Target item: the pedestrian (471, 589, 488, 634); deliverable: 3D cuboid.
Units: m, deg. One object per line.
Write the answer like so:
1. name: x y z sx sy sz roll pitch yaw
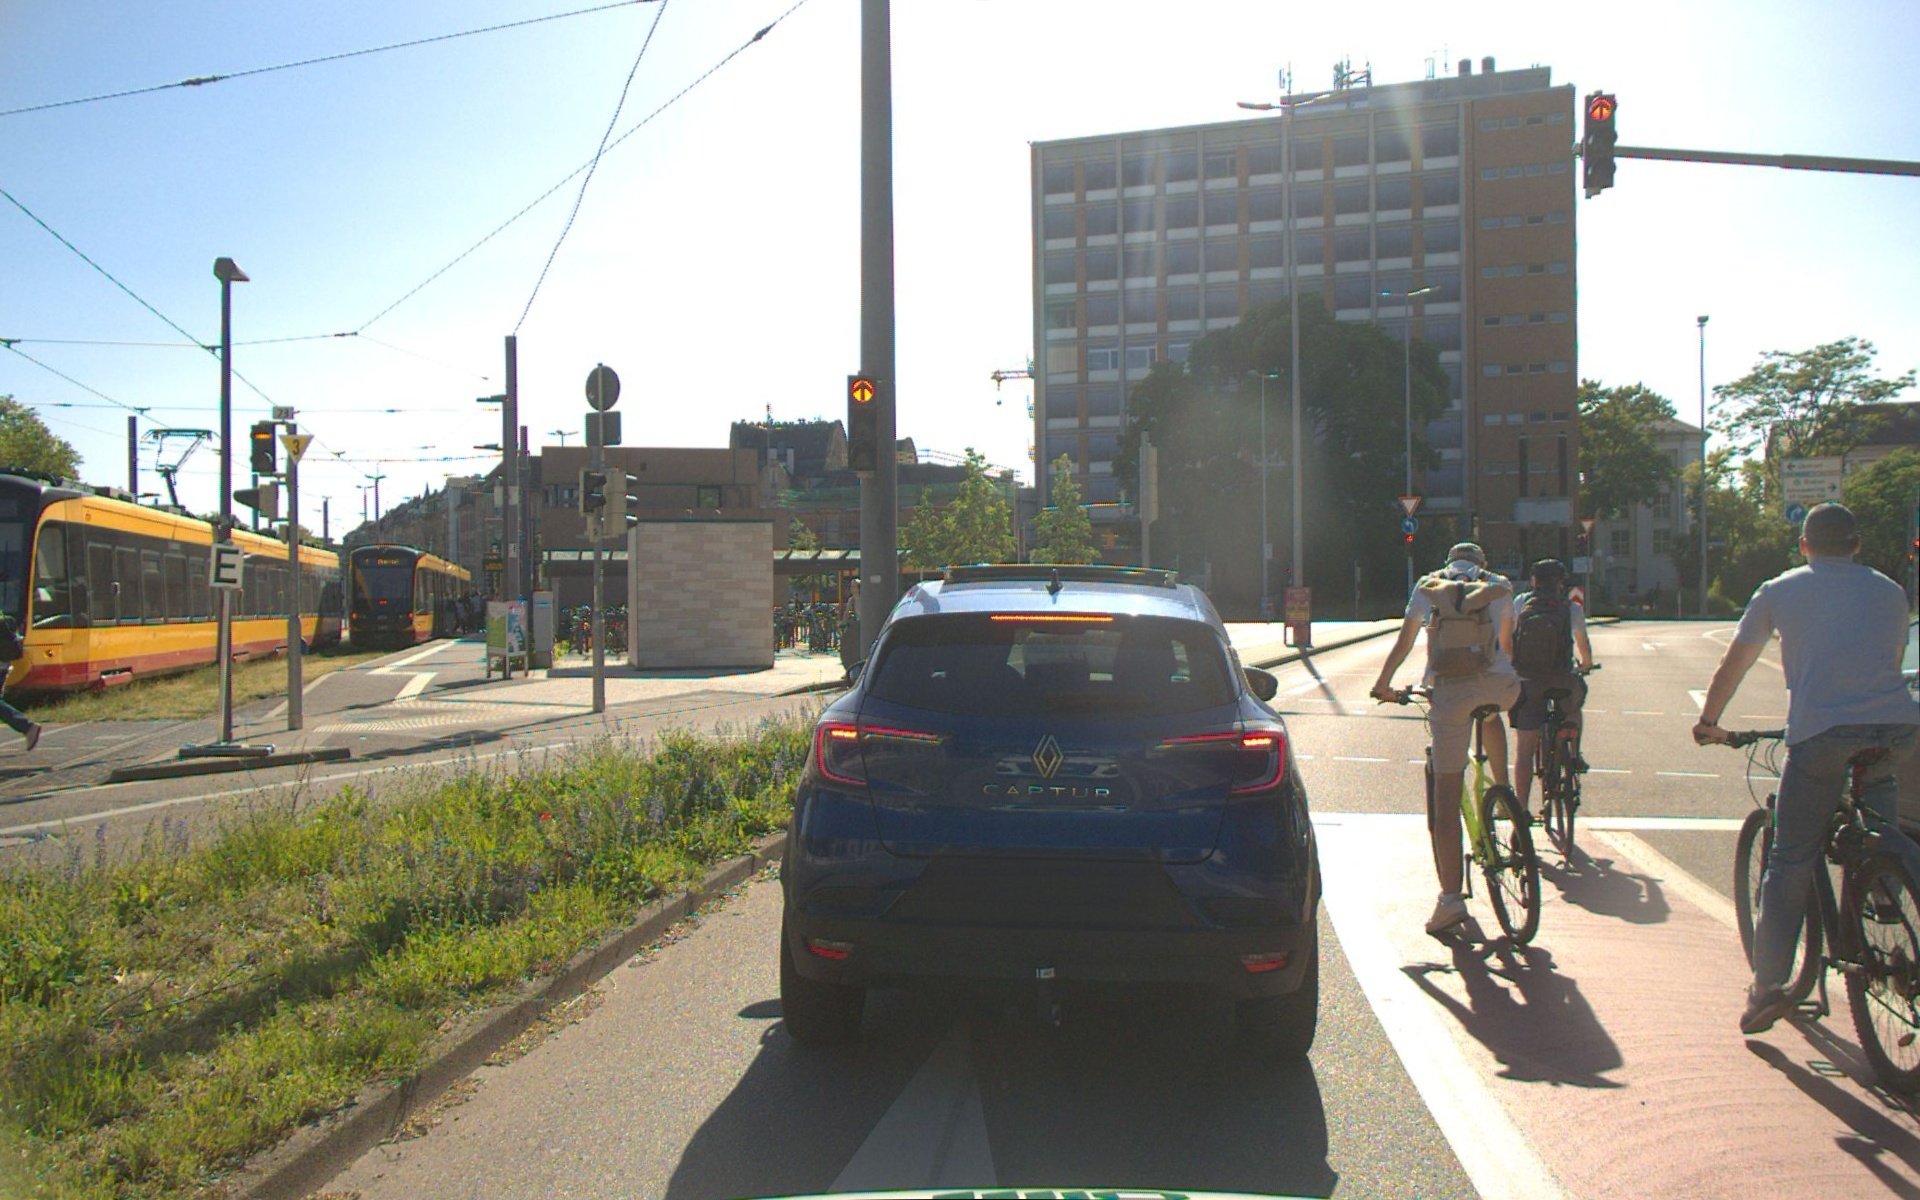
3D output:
1. pedestrian: -20.192 0.484 69.543 0.623 1.889 0.699 1 -1 -20

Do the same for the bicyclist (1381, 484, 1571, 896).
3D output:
1. bicyclist: 2.359 0.387 7.660 0.649 1.778 1.006 0 0 6

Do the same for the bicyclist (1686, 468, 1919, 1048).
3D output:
1. bicyclist: 3.004 0.492 5.664 0.733 1.807 1.015 0 0 11

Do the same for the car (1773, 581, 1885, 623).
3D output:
1. car: 37.299 0.082 71.109 4.154 1.596 1.822 -3 0 27

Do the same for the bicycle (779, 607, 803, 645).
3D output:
1. bicycle: -4.968 0.770 48.614 0.570 1.107 2.054 1 -1 -9

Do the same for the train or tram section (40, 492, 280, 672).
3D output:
1. train or tram section: -18.121 -0.342 38.294 2.768 3.569 10.573 0 0 -14

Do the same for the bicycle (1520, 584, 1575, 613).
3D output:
1. bicycle: 31.549 -0.072 88.865 2.746 1.568 0.883 0 -1 25

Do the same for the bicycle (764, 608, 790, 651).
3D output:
1. bicycle: -4.729 0.771 42.583 0.570 1.076 1.812 1 -1 -9

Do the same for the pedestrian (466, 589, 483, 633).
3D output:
1. pedestrian: -20.982 0.466 71.469 0.620 1.889 0.701 1 -1 -9

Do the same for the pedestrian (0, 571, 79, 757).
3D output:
1. pedestrian: -9.813 0.662 17.148 1.000 1.864 0.757 -2 -1 -16

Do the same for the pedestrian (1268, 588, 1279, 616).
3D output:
1. pedestrian: 19.013 0.117 100.357 0.551 1.699 0.474 -1 -2 36

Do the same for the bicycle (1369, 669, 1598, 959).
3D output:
1. bicycle: 2.368 0.910 7.693 0.648 1.065 1.892 0 1 6

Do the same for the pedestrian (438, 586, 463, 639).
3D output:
1. pedestrian: -18.437 0.467 59.895 0.833 1.916 0.757 1 -1 -16

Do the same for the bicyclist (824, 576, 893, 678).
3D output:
1. bicyclist: -1.716 0.452 27.992 0.861 1.673 1.061 -1 -1 13

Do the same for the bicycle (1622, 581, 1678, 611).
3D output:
1. bicycle: 37.143 -0.212 89.004 2.746 1.568 0.883 0 -1 25

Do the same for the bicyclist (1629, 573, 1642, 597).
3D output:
1. bicyclist: 40.806 -0.910 99.948 0.606 1.469 0.818 -1 0 29

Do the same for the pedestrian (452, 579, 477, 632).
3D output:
1. pedestrian: -18.222 0.210 60.881 0.833 1.916 0.757 1 -1 -16

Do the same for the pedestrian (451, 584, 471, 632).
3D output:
1. pedestrian: -19.653 0.313 65.154 0.661 1.889 0.701 1 -1 -9

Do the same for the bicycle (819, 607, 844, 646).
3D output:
1. bicycle: -3.784 0.779 48.703 0.570 1.107 2.054 1 -1 -9

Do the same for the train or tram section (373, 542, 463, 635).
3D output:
1. train or tram section: -22.465 -0.443 69.000 2.823 3.569 10.502 0 0 -14

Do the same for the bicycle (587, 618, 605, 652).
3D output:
1. bicycle: -10.445 1.005 47.464 0.415 0.954 1.300 1 0 -15

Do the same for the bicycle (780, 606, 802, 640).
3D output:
1. bicycle: -5.740 0.786 56.076 0.570 1.107 1.866 1 -1 -11

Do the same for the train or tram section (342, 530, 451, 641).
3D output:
1. train or tram section: -19.870 -0.453 58.836 2.823 3.569 10.502 0 0 -14

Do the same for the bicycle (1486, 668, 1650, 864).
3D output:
1. bicycle: 3.664 0.956 10.103 0.707 0.976 1.885 1 0 13

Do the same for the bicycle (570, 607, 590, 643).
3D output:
1. bicycle: -11.950 0.781 52.031 0.556 1.112 2.023 1 -1 -11

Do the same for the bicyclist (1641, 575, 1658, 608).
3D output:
1. bicyclist: 37.120 -0.456 89.018 0.841 1.721 0.884 0 -1 24

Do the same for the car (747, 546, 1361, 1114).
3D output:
1. car: 0.421 0.659 6.688 1.785 1.628 3.661 1 0 5

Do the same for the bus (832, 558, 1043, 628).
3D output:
1. bus: -1.368 -0.275 86.838 12.212 3.455 2.867 -1 -2 40

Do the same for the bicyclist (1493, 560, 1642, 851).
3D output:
1. bicyclist: 3.648 0.597 10.007 0.706 1.654 1.056 1 0 13

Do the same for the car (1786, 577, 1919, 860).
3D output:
1. car: 6.221 0.657 9.377 1.718 1.568 3.662 0 0 9

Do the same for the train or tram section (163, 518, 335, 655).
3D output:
1. train or tram section: -20.679 -0.345 48.801 2.768 3.569 11.170 0 0 -14

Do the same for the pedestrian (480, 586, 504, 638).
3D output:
1. pedestrian: -17.527 0.451 61.921 0.833 1.916 0.757 1 -1 -16

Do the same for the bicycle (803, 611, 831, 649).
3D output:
1. bicycle: -3.735 0.784 42.973 0.570 0.978 2.054 1 -1 -9

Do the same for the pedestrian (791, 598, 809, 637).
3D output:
1. pedestrian: -7.709 0.839 79.888 0.710 1.889 0.703 0 -1 8

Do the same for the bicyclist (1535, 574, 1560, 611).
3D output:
1. bicyclist: 31.555 -0.404 88.856 1.183 1.930 0.883 0 -1 24

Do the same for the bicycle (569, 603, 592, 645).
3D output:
1. bicycle: -10.486 0.669 45.746 0.556 1.112 2.023 1 -1 -11

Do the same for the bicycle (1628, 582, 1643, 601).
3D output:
1. bicycle: 40.860 -0.500 100.009 0.597 1.112 1.669 -1 0 29

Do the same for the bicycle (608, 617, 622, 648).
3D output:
1. bicycle: -10.950 1.021 52.478 0.414 0.954 1.375 1 0 -12

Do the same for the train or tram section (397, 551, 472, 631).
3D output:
1. train or tram section: -25.010 -0.410 79.146 2.823 3.569 10.502 0 0 -14

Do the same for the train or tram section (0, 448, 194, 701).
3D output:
1. train or tram section: -15.576 -0.339 28.142 2.771 3.569 10.437 -1 0 -15

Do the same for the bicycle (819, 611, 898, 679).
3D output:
1. bicycle: -1.694 0.743 27.985 0.756 1.099 2.037 -1 -1 13

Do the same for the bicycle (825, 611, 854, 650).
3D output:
1. bicycle: -3.136 0.789 43.070 0.570 0.978 2.054 1 -1 -9

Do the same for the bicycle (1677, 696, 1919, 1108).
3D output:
1. bicycle: 3.018 0.938 5.731 0.598 1.096 1.831 0 0 11

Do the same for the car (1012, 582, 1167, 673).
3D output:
1. car: 2.442 0.459 30.204 1.763 1.417 4.094 -1 2 20
